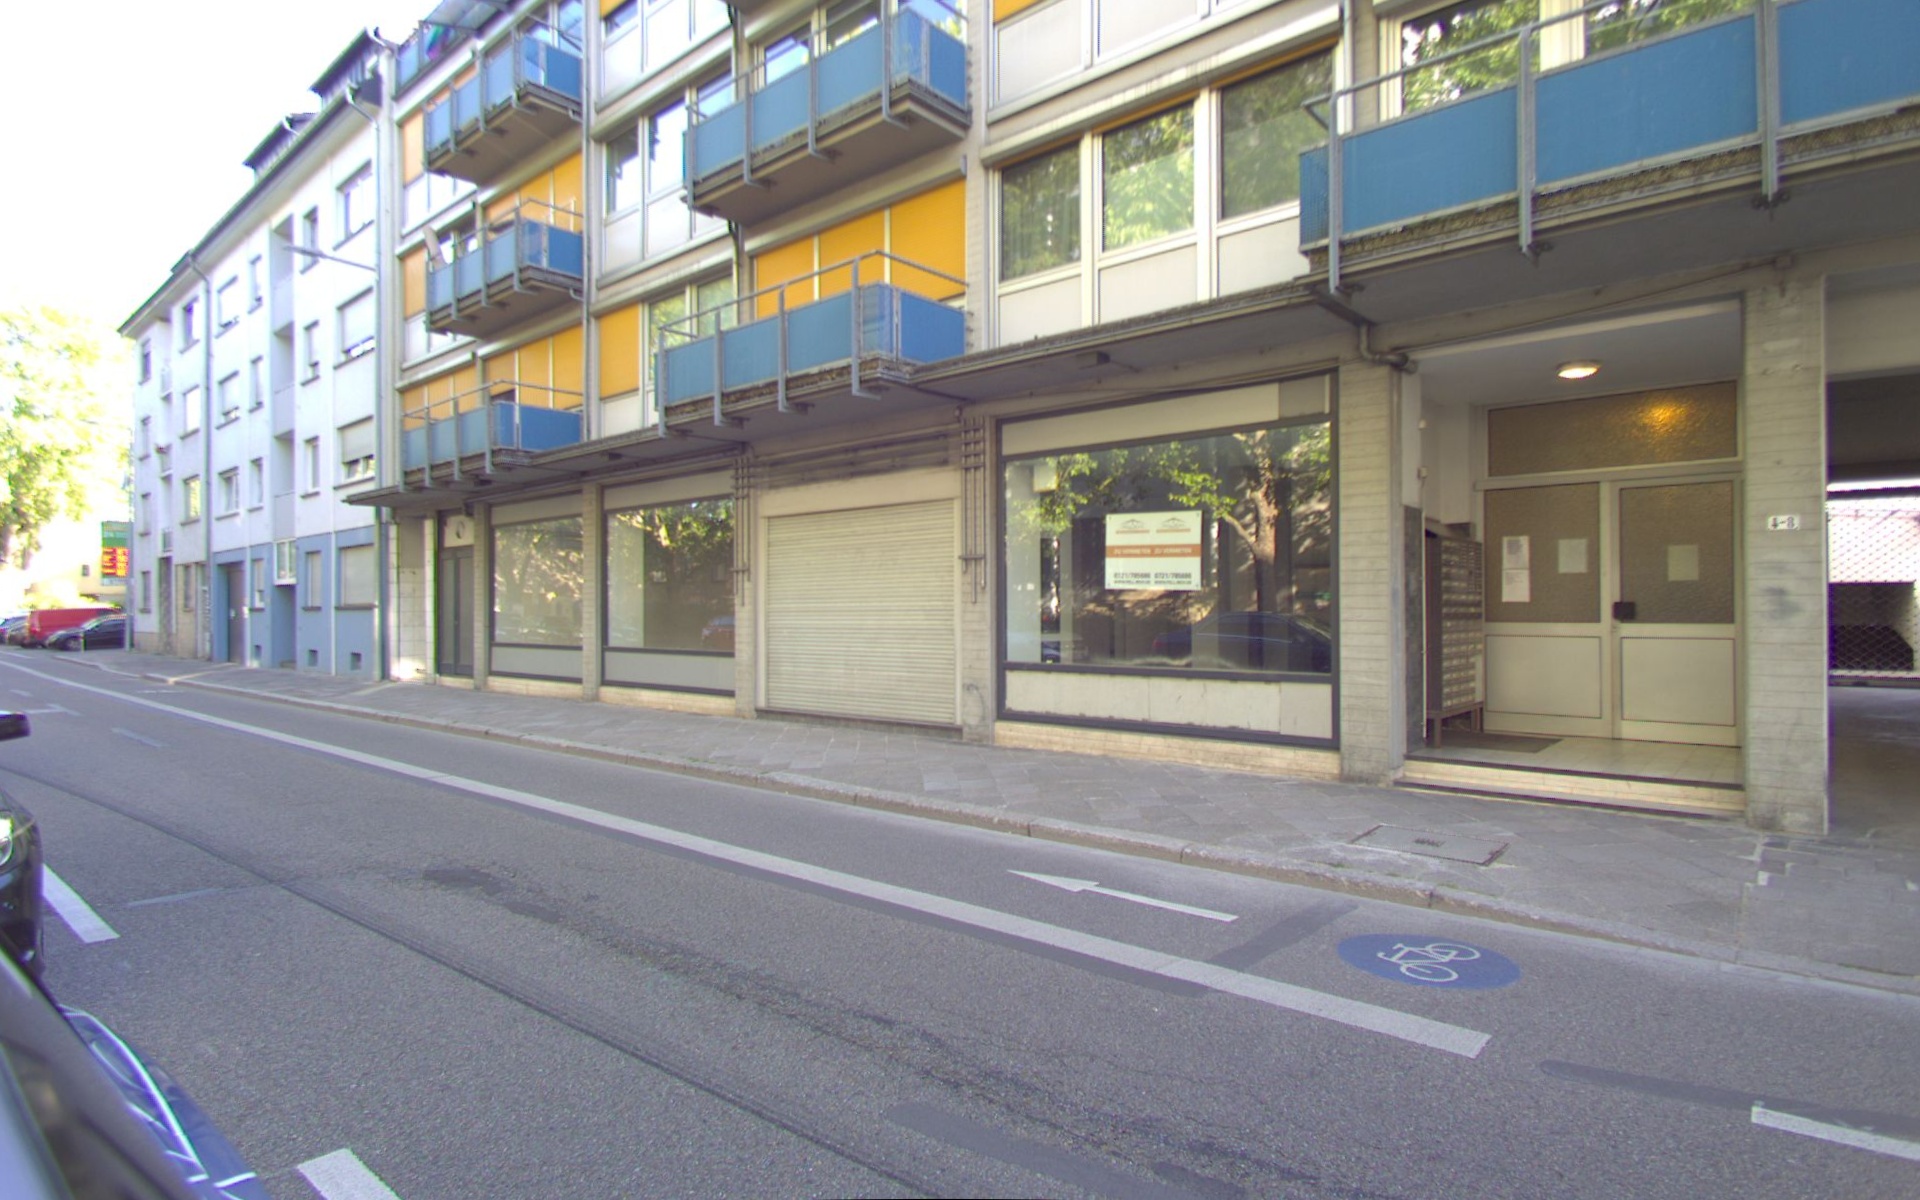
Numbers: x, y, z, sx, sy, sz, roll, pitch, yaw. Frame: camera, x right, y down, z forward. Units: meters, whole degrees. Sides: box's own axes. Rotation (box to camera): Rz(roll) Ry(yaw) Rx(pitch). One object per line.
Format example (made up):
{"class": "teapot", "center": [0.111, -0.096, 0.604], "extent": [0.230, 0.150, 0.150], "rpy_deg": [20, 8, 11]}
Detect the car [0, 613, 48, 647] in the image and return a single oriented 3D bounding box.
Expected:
{"class": "car", "center": [-62.710, 1.963, 66.583], "extent": [1.725, 2.193, 3.854], "rpy_deg": [-1, 0, 42]}

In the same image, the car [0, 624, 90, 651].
{"class": "car", "center": [-51.845, 2.093, 57.215], "extent": [1.594, 1.385, 3.854], "rpy_deg": [-1, 0, 42]}

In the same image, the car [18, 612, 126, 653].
{"class": "car", "center": [-43.702, 1.562, 49.859], "extent": [1.749, 1.921, 3.854], "rpy_deg": [-1, -1, 42]}

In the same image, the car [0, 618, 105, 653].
{"class": "car", "center": [-46.049, 1.777, 51.398], "extent": [1.603, 1.598, 3.854], "rpy_deg": [-1, 0, 42]}

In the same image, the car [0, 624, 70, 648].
{"class": "car", "center": [-57.181, 2.197, 61.995], "extent": [1.525, 1.343, 3.854], "rpy_deg": [-1, 0, 42]}

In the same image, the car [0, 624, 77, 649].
{"class": "car", "center": [-55.375, 2.173, 60.434], "extent": [1.525, 1.343, 3.854], "rpy_deg": [-1, 0, 42]}

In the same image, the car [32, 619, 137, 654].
{"class": "car", "center": [-41.509, 1.698, 48.042], "extent": [1.602, 1.521, 3.620], "rpy_deg": [-1, 0, 42]}

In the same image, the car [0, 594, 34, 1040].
{"class": "car", "center": [-5.428, 0.766, 4.202], "extent": [4.291, 1.515, 1.805], "rpy_deg": [-1, 0, 40]}

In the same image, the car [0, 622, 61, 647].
{"class": "car", "center": [-59.211, 2.185, 63.753], "extent": [1.539, 1.451, 3.733], "rpy_deg": [-1, 0, 42]}

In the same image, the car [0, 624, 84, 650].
{"class": "car", "center": [-53.359, 2.112, 58.555], "extent": [1.594, 1.385, 3.854], "rpy_deg": [-1, 0, 42]}

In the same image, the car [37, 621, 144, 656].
{"class": "car", "center": [-39.791, 1.744, 46.345], "extent": [1.534, 1.420, 3.551], "rpy_deg": [-2, -1, 42]}
